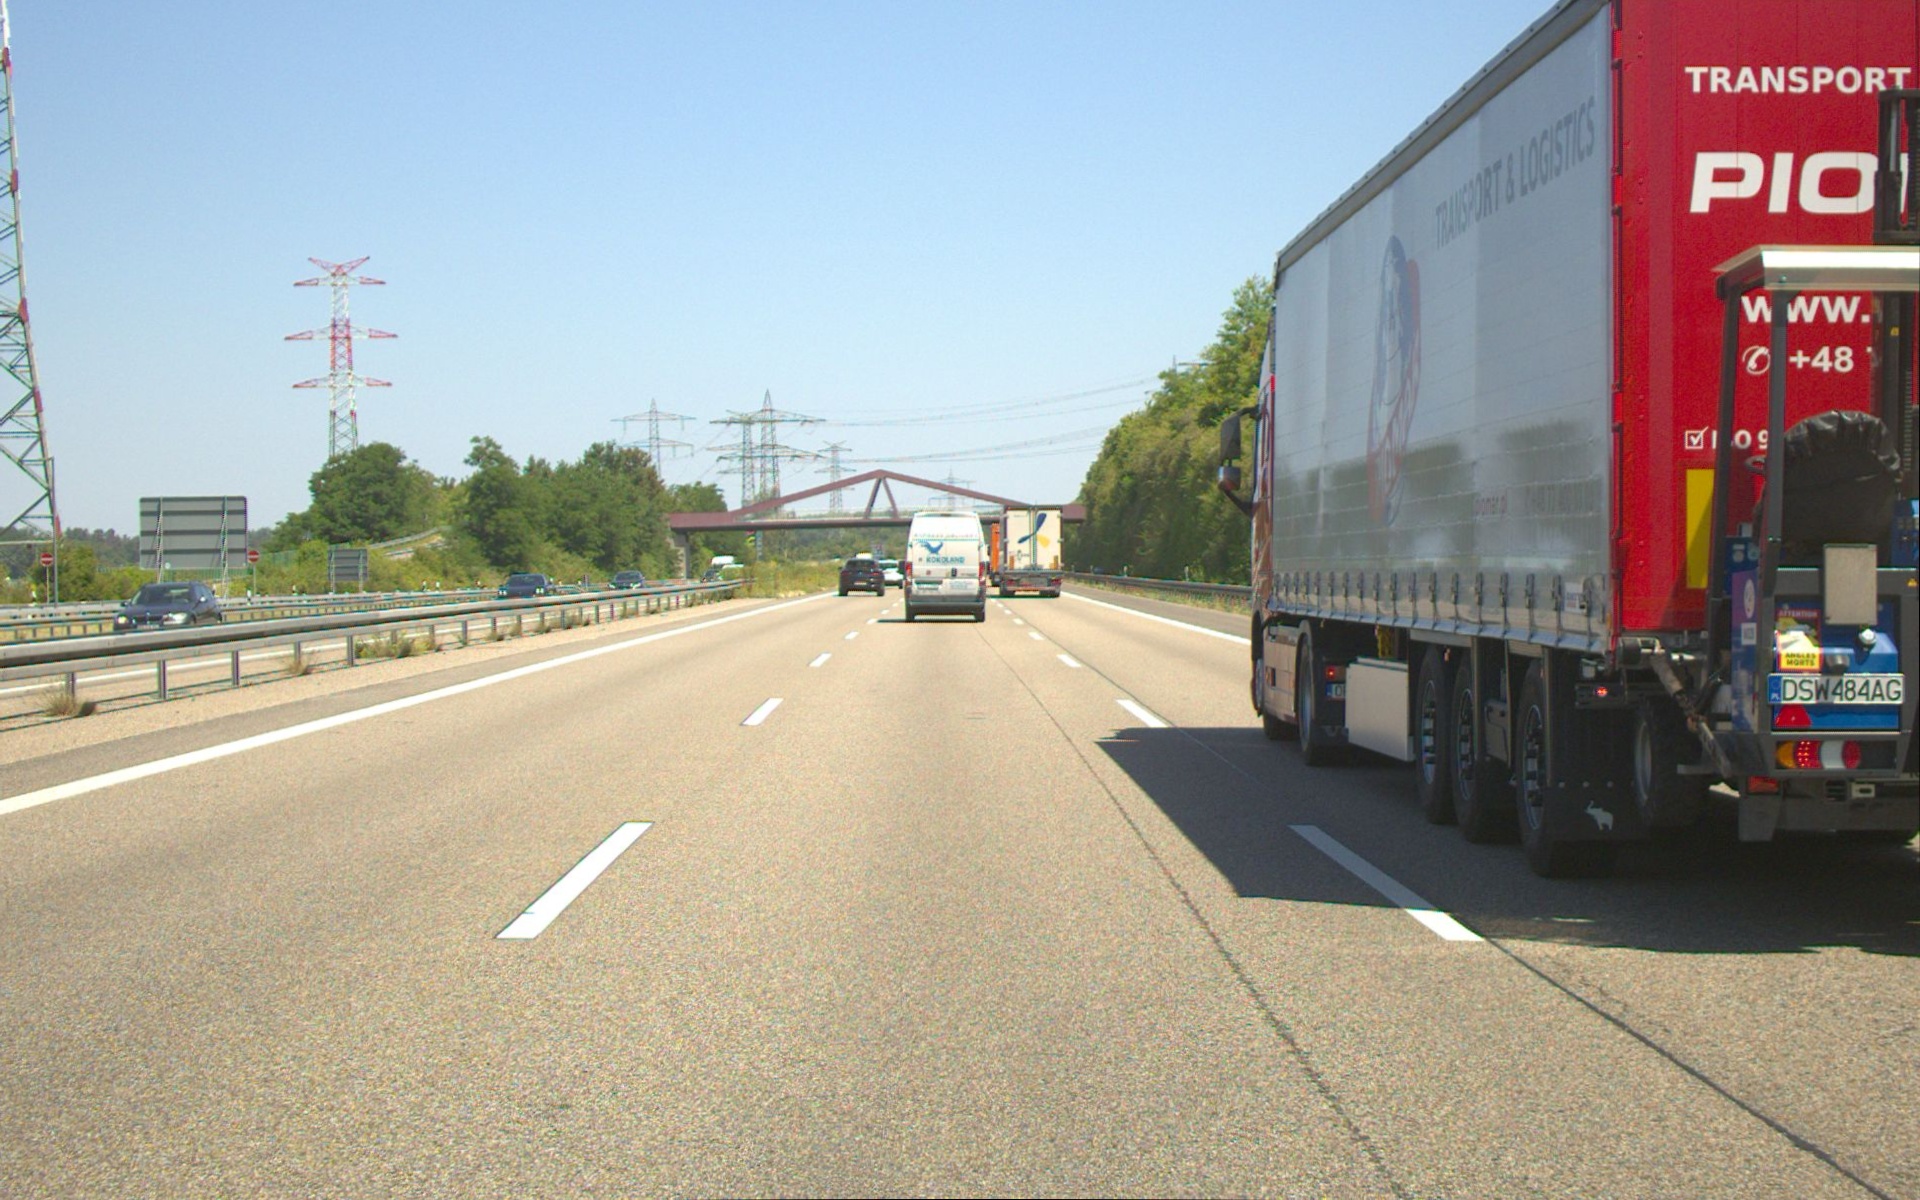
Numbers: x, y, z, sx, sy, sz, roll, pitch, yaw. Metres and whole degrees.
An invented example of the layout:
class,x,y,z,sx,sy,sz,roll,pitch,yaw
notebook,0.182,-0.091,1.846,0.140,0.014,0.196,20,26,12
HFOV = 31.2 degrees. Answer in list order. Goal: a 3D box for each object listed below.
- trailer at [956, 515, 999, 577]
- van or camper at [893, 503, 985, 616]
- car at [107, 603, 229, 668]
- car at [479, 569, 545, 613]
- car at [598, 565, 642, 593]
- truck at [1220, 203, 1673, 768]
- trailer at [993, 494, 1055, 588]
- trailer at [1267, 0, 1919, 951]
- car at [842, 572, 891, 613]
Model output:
class,x,y,z,sx,sy,sz,roll,pitch,yaw
trailer,1.134,-3.450,220.580,2.637,3.883,7.068,1,1,1
van or camper,-0.524,-1.035,88.099,2.230,2.772,5.423,1,1,0
car,-17.994,0.787,78.262,1.742,1.272,4.318,-3,1,0
car,-17.514,-0.371,134.478,1.972,1.641,5.017,1,1,-1
car,-18.073,-1.115,182.933,1.869,1.393,4.546,-3,1,0
truck,3.637,-0.830,27.346,2.499,3.906,7.097,0,1,-1
trailer,2.836,-2.623,155.751,2.637,4.046,12.366,1,1,1
trailer,3.744,-0.735,19.754,2.490,3.896,14.247,0,1,-1
car,-4.213,-0.351,155.966,1.982,1.811,3.812,1,1,2
